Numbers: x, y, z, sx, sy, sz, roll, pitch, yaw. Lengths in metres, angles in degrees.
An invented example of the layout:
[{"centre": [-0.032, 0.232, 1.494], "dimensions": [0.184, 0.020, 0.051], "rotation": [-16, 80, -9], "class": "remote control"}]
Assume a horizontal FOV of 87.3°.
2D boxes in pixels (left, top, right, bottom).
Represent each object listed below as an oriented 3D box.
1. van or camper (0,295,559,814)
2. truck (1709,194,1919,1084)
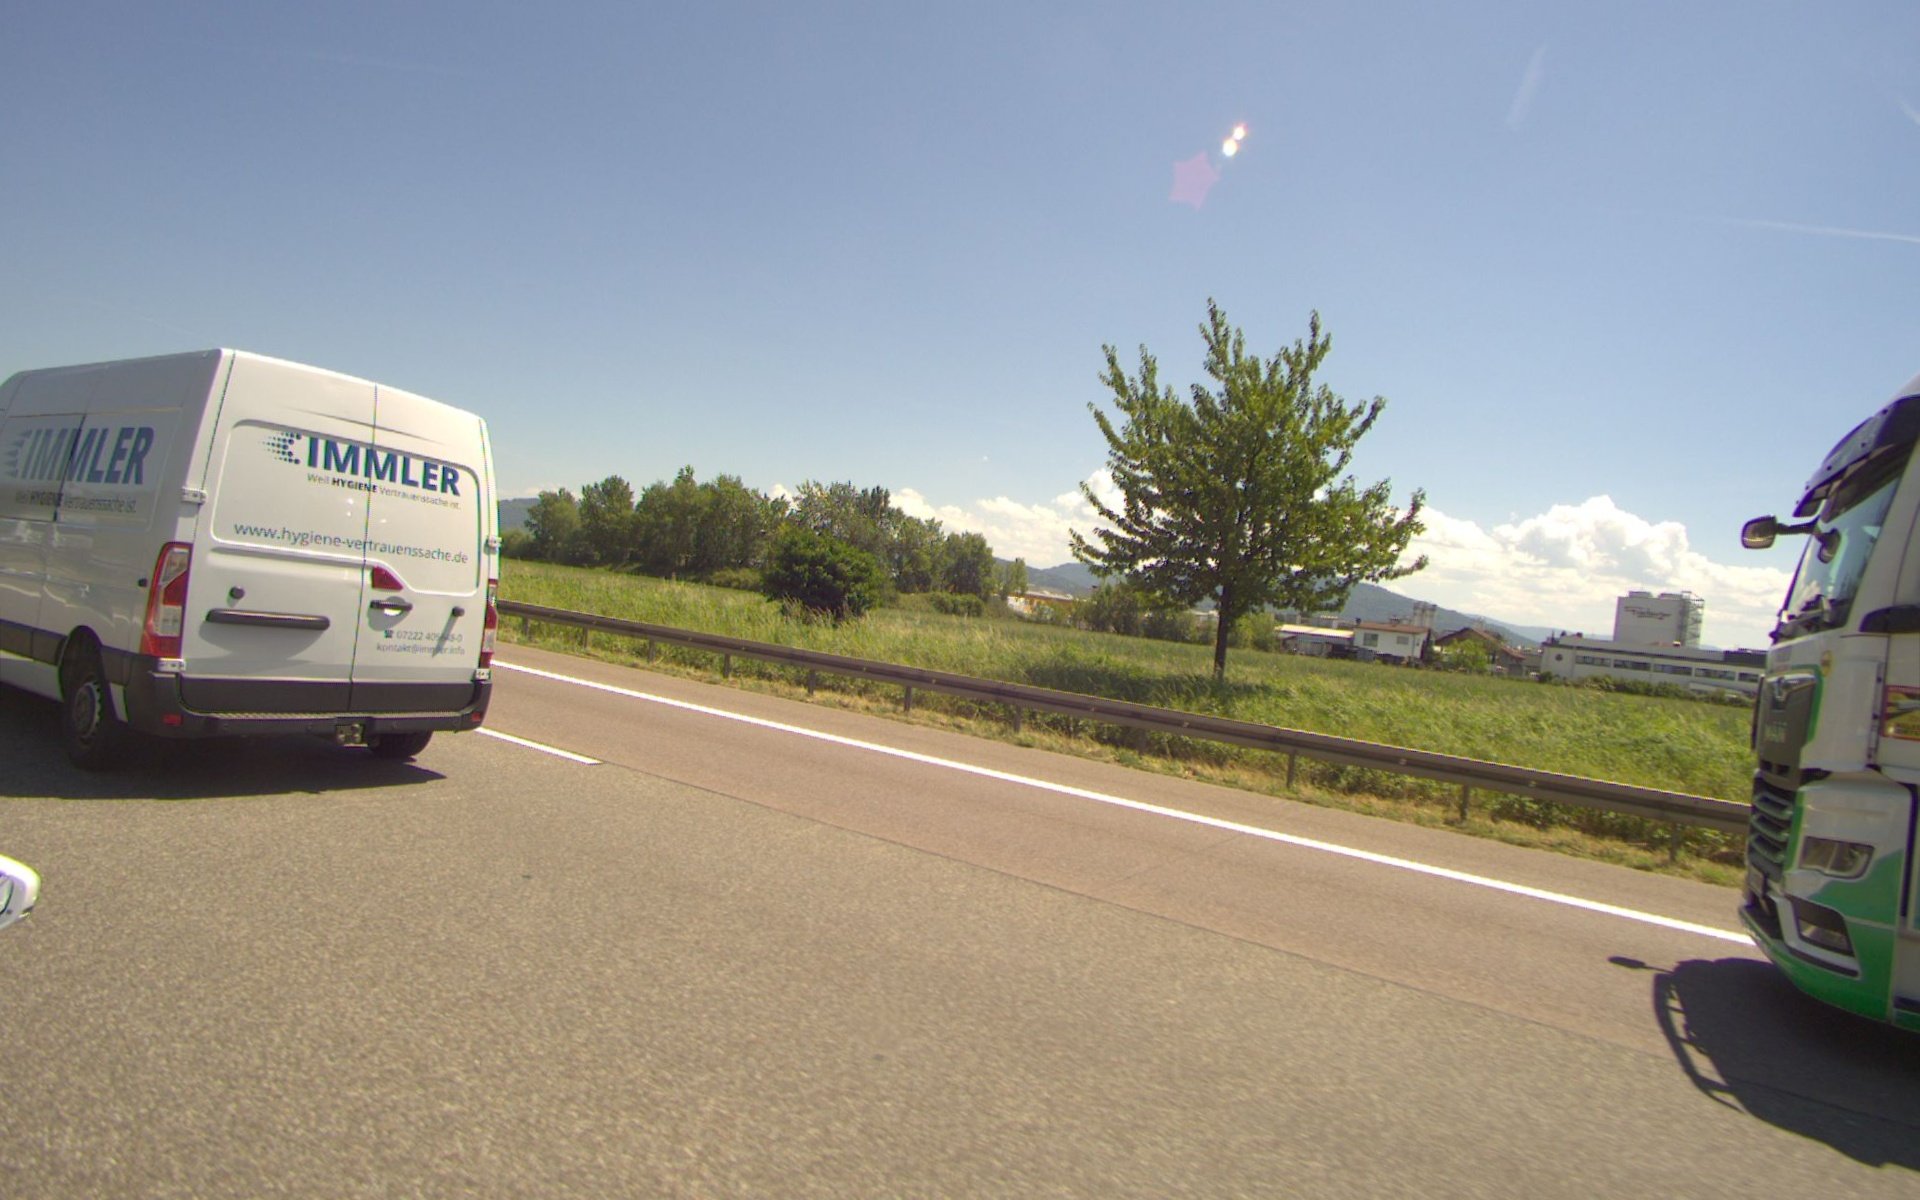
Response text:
[{"centre": [-5.910, -0.425, 7.538], "dimensions": [5.886, 2.653, 2.061], "rotation": [7, -1, 32], "class": "van or camper"}, {"centre": [7.548, 0.555, 4.158], "dimensions": [6.526, 4.042, 2.674], "rotation": [7, -1, 32], "class": "truck"}]
